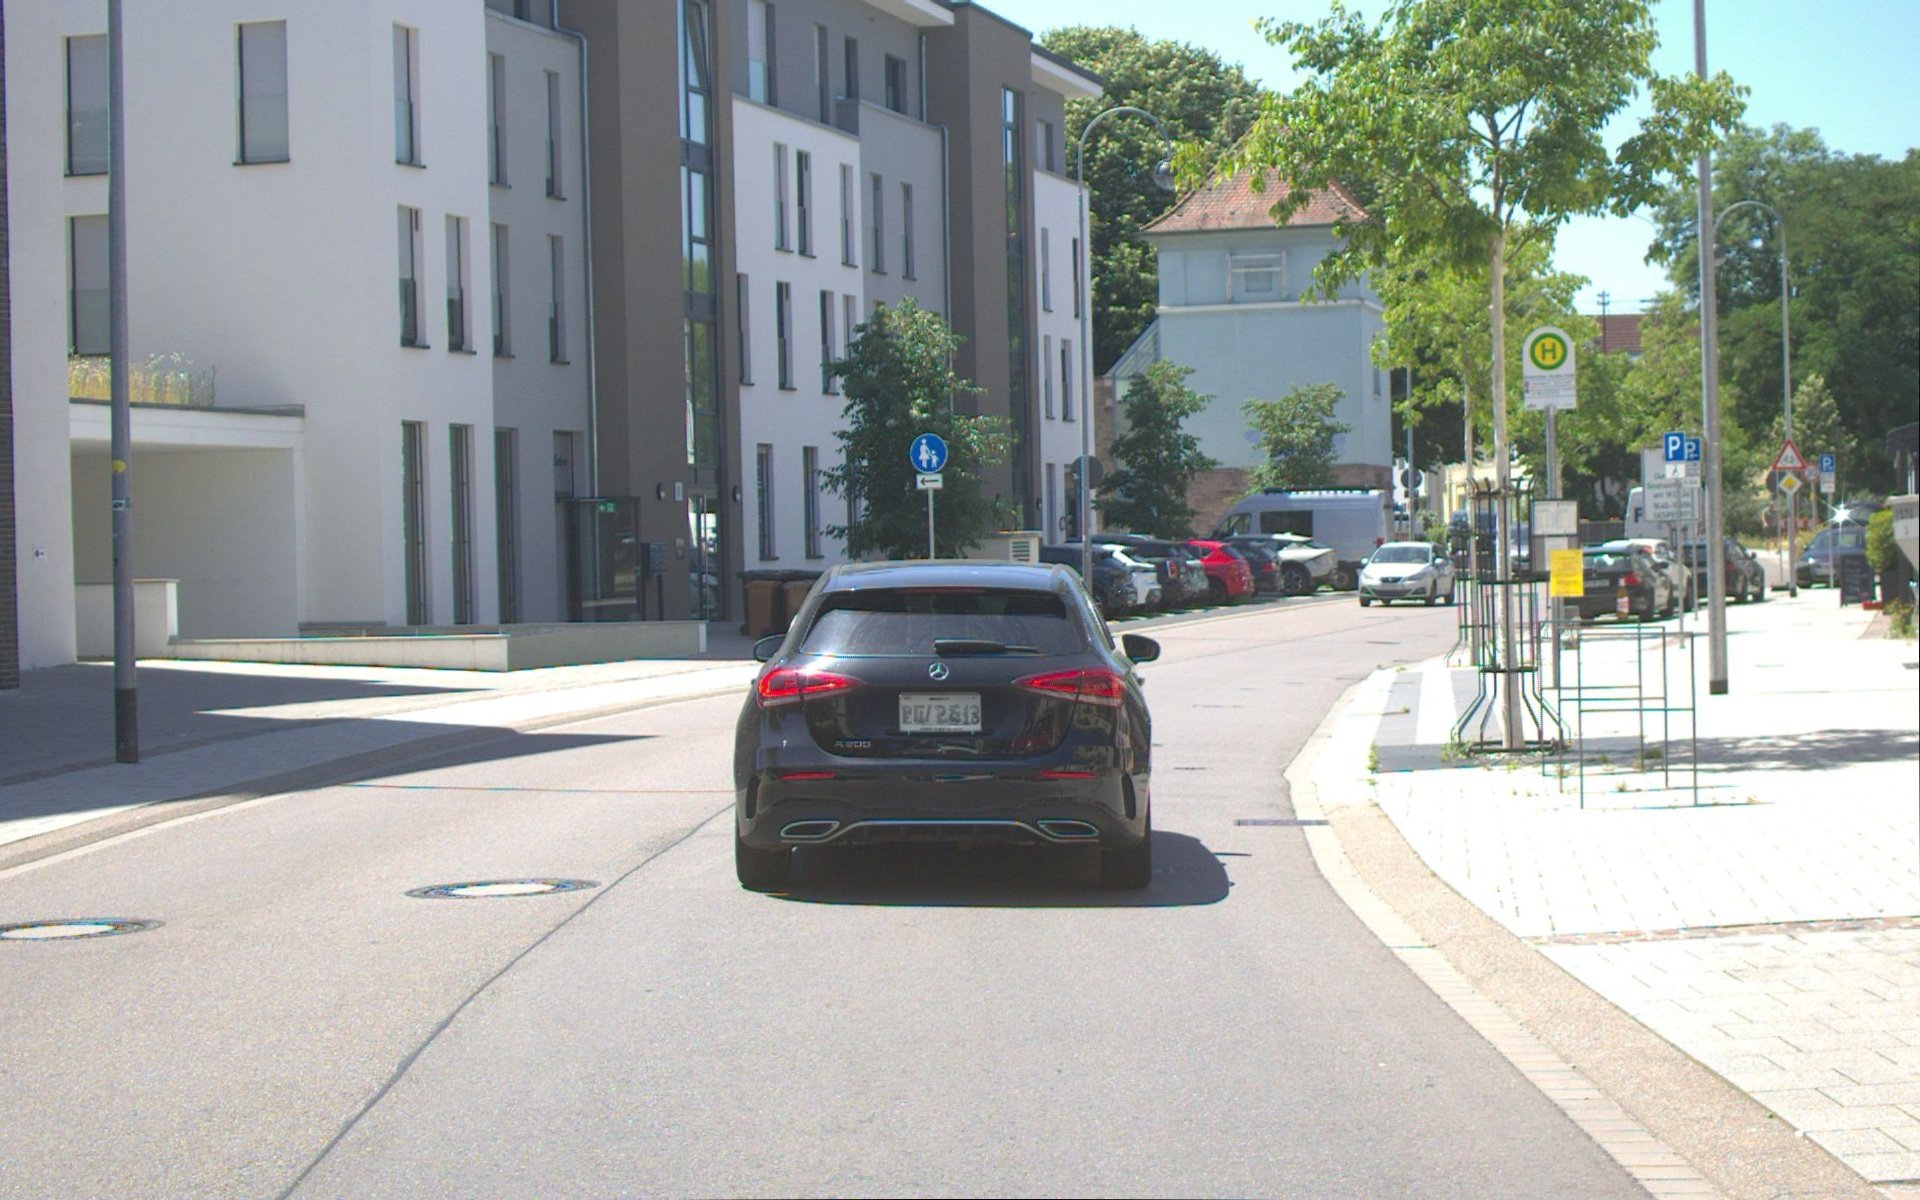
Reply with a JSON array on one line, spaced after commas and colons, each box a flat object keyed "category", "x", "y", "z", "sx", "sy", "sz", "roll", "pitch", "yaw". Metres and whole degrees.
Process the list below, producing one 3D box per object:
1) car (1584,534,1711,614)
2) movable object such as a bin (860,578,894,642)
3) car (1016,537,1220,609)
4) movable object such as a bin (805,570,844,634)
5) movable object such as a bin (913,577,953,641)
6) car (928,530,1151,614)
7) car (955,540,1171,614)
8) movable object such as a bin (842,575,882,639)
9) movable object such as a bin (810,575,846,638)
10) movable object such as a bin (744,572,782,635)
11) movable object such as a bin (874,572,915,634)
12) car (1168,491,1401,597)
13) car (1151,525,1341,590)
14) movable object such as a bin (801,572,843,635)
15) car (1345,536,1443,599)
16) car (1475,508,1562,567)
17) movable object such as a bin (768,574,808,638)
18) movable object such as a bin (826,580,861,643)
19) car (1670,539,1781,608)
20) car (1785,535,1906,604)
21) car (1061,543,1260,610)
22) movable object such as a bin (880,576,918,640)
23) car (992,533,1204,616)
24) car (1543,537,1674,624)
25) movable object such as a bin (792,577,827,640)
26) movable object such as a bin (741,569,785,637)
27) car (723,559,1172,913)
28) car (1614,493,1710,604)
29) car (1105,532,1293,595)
[{"category": "car", "x": 13.960, "y": -0.552, "z": 69.671, "sx": 1.739, "sy": 1.481, "sz": 4.050, "roll": -3, "pitch": 0, "yaw": 22}, {"category": "movable object such as a bin", "x": -1.322, "y": 0.160, "z": 54.823, "sx": 0.403, "sy": 0.994, "sz": 0.555, "roll": 0, "pitch": 1, "yaw": 15}, {"category": "car", "x": 3.443, "y": -0.606, "z": 74.730, "sx": 4.036, "sy": 1.491, "sz": 1.998, "roll": 1, "pitch": 1, "yaw": 19}, {"category": "movable object such as a bin", "x": -2.237, "y": 0.027, "z": 56.816, "sx": 0.619, "sy": 1.035, "sz": 0.582, "roll": -1, "pitch": 1, "yaw": -1}, {"category": "movable object such as a bin", "x": -0.424, "y": 0.143, "z": 54.795, "sx": 0.483, "sy": 0.994, "sz": 0.587, "roll": 0, "pitch": 1, "yaw": 15}, {"category": "car", "x": 1.574, "y": -0.571, "z": 67.435, "sx": 3.990, "sy": 1.510, "sz": 1.999, "roll": 1, "pitch": 3, "yaw": 17}, {"category": "car", "x": 2.091, "y": -0.475, "z": 69.572, "sx": 3.990, "sy": 1.416, "sz": 1.908, "roll": 1, "pitch": 1, "yaw": 17}, {"category": "movable object such as a bin", "x": -1.552, "y": 0.105, "z": 54.541, "sx": 0.483, "sy": 0.994, "sz": 0.587, "roll": 0, "pitch": 1, "yaw": 16}, {"category": "movable object such as a bin", "x": -2.087, "y": 0.100, "z": 54.452, "sx": 0.425, "sy": 0.994, "sz": 0.523, "roll": 0, "pitch": 1, "yaw": 16}, {"category": "movable object such as a bin", "x": -3.153, "y": 0.059, "z": 55.167, "sx": 0.483, "sy": 0.994, "sz": 0.588, "roll": -1, "pitch": 1, "yaw": 9}, {"category": "movable object such as a bin", "x": -1.087, "y": 0.042, "z": 57.315, "sx": 0.554, "sy": 1.016, "sz": 0.560, "roll": 0, "pitch": 1, "yaw": 12}, {"category": "car", "x": 8.605, "y": -1.512, "z": 91.161, "sx": 5.772, "sy": 2.723, "sz": 2.290, "roll": 1, "pitch": 1, "yaw": 18}, {"category": "car", "x": 7.206, "y": -1.080, "z": 86.481, "sx": 4.457, "sy": 1.586, "sz": 1.998, "roll": 1, "pitch": 1, "yaw": 17}, {"category": "movable object such as a bin", "x": -2.310, "y": 0.054, "z": 57.555, "sx": 0.675, "sy": 1.035, "sz": 0.604, "roll": -1, "pitch": 1, "yaw": -1}, {"category": "car", "x": 9.841, "y": -0.752, "z": 77.782, "sx": 1.668, "sy": 1.391, "sz": 3.845, "roll": 0, "pitch": 1, "yaw": 15}, {"category": "car", "x": 15.855, "y": -1.769, "z": 97.435, "sx": 1.943, "sy": 1.653, "sz": 4.232, "roll": 0, "pitch": 1, "yaw": 16}, {"category": "movable object such as a bin", "x": -2.720, "y": 0.095, "z": 54.454, "sx": 0.483, "sy": 0.994, "sz": 0.526, "roll": 0, "pitch": 1, "yaw": 15}, {"category": "movable object such as a bin", "x": -1.866, "y": 0.189, "z": 54.994, "sx": 0.403, "sy": 0.994, "sz": 0.555, "roll": 0, "pitch": 1, "yaw": 15}, {"category": "car", "x": 16.827, "y": -0.603, "z": 75.450, "sx": 1.726, "sy": 1.400, "sz": 4.604, "roll": -2, "pitch": 1, "yaw": 20}, {"category": "car", "x": 22.063, "y": -0.779, "z": 85.585, "sx": 1.875, "sy": 1.486, "sz": 3.855, "roll": -2, "pitch": 2, "yaw": 30}, {"category": "car", "x": 4.483, "y": -0.536, "z": 76.801, "sx": 4.036, "sy": 1.425, "sz": 1.998, "roll": 1, "pitch": 1, "yaw": 19}, {"category": "movable object such as a bin", "x": -0.962, "y": 0.118, "z": 54.254, "sx": 0.483, "sy": 0.994, "sz": 0.588, "roll": -1, "pitch": 1, "yaw": 9}, {"category": "car", "x": 2.895, "y": -0.554, "z": 71.958, "sx": 4.036, "sy": 1.645, "sz": 1.998, "roll": 1, "pitch": 1, "yaw": 19}, {"category": "car", "x": 12.059, "y": -0.371, "z": 63.769, "sx": 1.834, "sy": 1.477, "sz": 4.092, "roll": -3, "pitch": 0, "yaw": 18}, {"category": "movable object such as a bin", "x": -2.409, "y": 0.132, "z": 54.978, "sx": 0.403, "sy": 0.994, "sz": 0.555, "roll": 0, "pitch": 1, "yaw": 15}, {"category": "movable object such as a bin", "x": -3.246, "y": 0.048, "z": 56.672, "sx": 0.692, "sy": 1.092, "sz": 0.647, "roll": -1, "pitch": 1, "yaw": -1}, {"category": "car", "x": -0.120, "y": 0.531, "z": 16.008, "sx": 1.827, "sy": 1.437, "sz": 4.000, "roll": 0, "pitch": 1, "yaw": -2}, {"category": "car", "x": 19.029, "y": -1.431, "z": 93.063, "sx": 2.129, "sy": 2.620, "sz": 5.275, "roll": -4, "pitch": 2, "yaw": 14}, {"category": "car", "x": 5.670, "y": -0.873, "z": 81.310, "sx": 4.202, "sy": 1.432, "sz": 1.885, "roll": 1, "pitch": 1, "yaw": 13}]
